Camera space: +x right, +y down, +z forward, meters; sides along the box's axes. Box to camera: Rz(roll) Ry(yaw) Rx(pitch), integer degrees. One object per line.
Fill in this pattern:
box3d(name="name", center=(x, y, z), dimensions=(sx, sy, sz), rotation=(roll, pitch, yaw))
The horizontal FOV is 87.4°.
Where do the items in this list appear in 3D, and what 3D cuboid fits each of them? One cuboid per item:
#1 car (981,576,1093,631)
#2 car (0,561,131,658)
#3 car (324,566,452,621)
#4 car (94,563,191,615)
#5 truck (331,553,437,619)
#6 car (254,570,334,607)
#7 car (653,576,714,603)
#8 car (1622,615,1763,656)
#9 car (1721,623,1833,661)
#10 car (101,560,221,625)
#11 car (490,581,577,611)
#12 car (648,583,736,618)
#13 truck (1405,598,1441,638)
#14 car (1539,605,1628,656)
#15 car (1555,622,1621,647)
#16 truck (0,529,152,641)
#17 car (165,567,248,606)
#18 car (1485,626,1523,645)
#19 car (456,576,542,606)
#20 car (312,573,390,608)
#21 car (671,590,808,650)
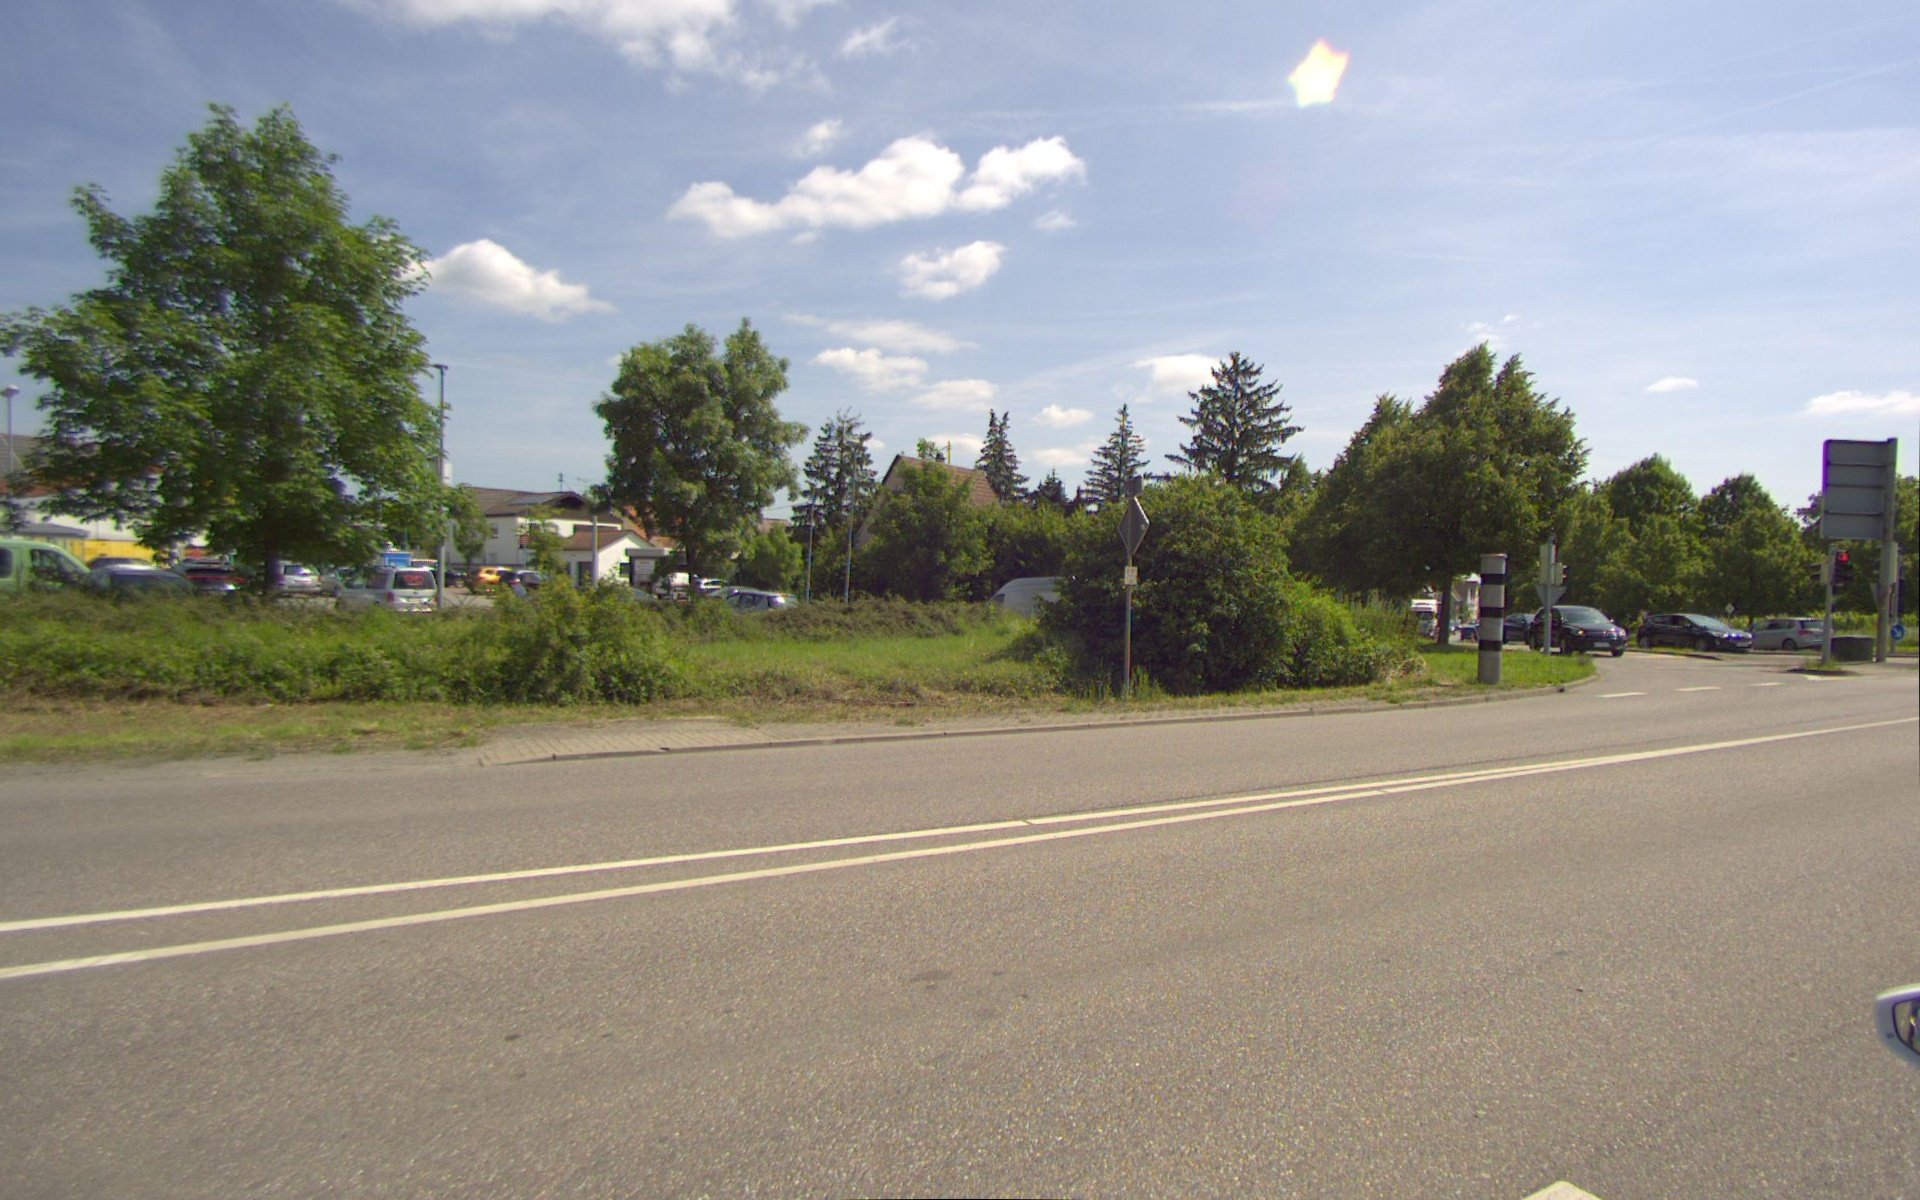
box3d(name="car", center=(3.348, 0.112, 44.068), dimensions=(4.524, 2.209, 1.992), rotation=(2, 1, 37))
box3d(name="car", center=(-17.560, 0.147, 19.457), dimensions=(3.941, 1.679, 1.686), rotation=(2, 0, 42))
box3d(name="car", center=(-19.320, -0.233, 33.887), dimensions=(4.353, 1.717, 1.994), rotation=(1, 0, 34))
box3d(name="car", center=(-26.514, -0.372, 32.554), dimensions=(3.941, 1.549, 1.770), rotation=(2, 0, 41))
box3d(name="truck", center=(-22.343, -0.555, 38.916), dimensions=(3.932, 2.397, 1.994), rotation=(2, 0, 34))
box3d(name="car", center=(-30.291, -0.533, 45.675), dimensions=(4.193, 1.562, 1.871), rotation=(2, 0, 40))
box3d(name="car", center=(-20.181, -0.755, 73.411), dimensions=(1.866, 1.782, 3.988), rotation=(2, 0, 35))
box3d(name="car", center=(27.287, 1.287, 37.603), dimensions=(1.711, 1.322, 4.273), rotation=(2, 0, -10))
box3d(name="car", center=(36.490, 1.840, 44.991), dimensions=(1.508, 1.511, 4.005), rotation=(2, 0, -5))
box3d(name="car", center=(-22.850, -0.229, 28.678), dimensions=(3.939, 1.711, 1.918), rotation=(2, 0, 40))
box3d(name="car", center=(-24.555, -0.225, 57.969), dimensions=(1.849, 1.562, 4.243), rotation=(2, 0, 37))
box3d(name="car", center=(-13.588, 0.039, 51.018), dimensions=(1.883, 1.662, 3.984), rotation=(2, 0, 38))
box3d(name="truck", center=(47.731, 1.899, 103.519), dimensions=(2.892, 3.848, 7.917), rotation=(2, 0, 27))
box3d(name="car", center=(21.235, 0.998, 34.392), dimensions=(1.774, 1.619, 4.268), rotation=(0, 0, 21))
box3d(name="car", center=(37.489, 2.038, 60.054), dimensions=(1.706, 1.322, 4.283), rotation=(1, 0, 7))
box3d(name="truck", center=(-21.807, -0.348, 21.791), dimensions=(2.213, 2.407, 6.325), rotation=(1, 0, 37))
box3d(name="car", center=(-32.403, -0.607, 43.164), dimensions=(4.193, 1.562, 1.871), rotation=(2, 0, 40))
box3d(name="car", center=(39.546, 2.562, 73.067), dimensions=(1.643, 1.375, 3.862), rotation=(-1, -1, 16))
box3d(name="car", center=(-27.133, -0.515, 59.225), dimensions=(1.849, 1.562, 4.243), rotation=(2, 0, 37))
box3d(name="car", center=(-29.014, -0.455, 47.818), dimensions=(4.193, 1.562, 1.871), rotation=(2, 0, 40))
box3d(name="car", center=(-7.084, 0.622, 32.196), dimensions=(3.928, 1.751, 1.997), rotation=(2, 0, 29))
